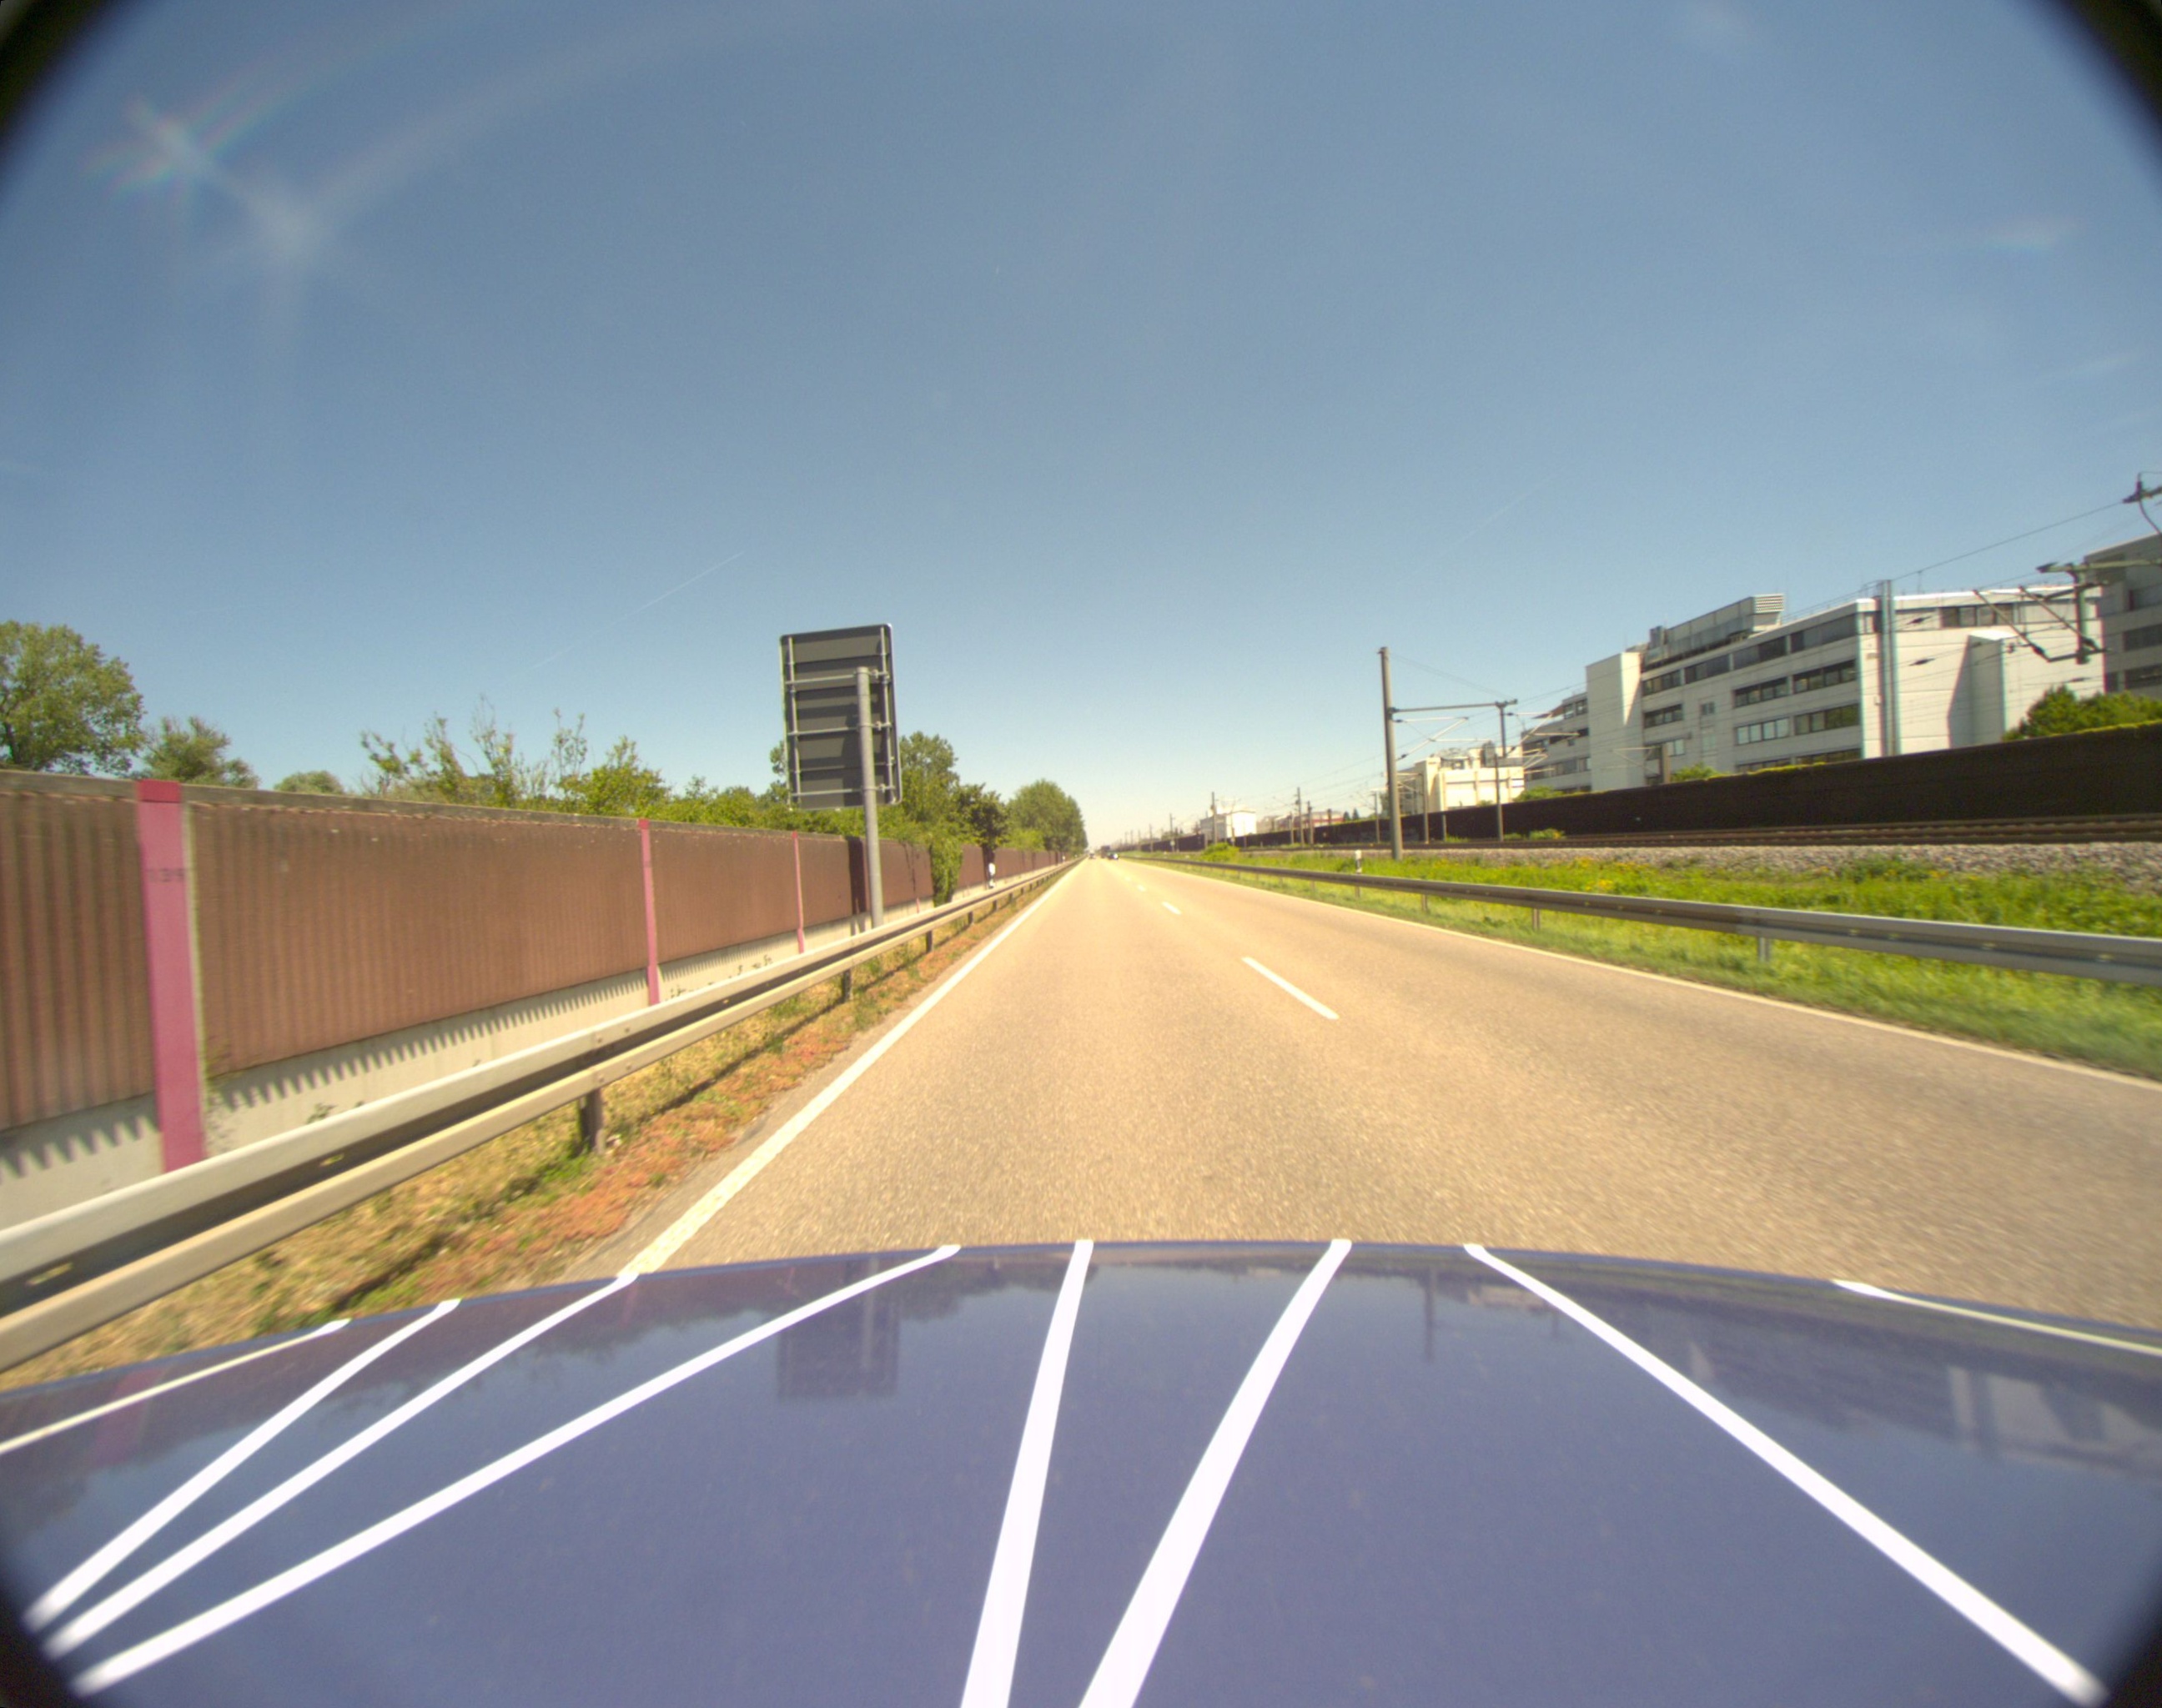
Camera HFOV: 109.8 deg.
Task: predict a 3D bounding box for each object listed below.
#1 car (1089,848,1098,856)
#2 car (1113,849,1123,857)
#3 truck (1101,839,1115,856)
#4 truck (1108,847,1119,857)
[{"bbox_3d":[3.127,-0.528,190.018,1.998,2.002,4.001,-2,1,4],"label":"car"},{"bbox_3d":[7.464,-0.193,154.469,1.803,1.455,4.000,-2,0,1],"label":"car"},{"bbox_3d":[7.741,-1.806,216.995,3.054,4.449,10.586,-2,1,-2],"label":"truck"},{"bbox_3d":[7.866,-0.391,182.613,2.389,2.255,6.237,-2,0,1],"label":"truck"}]
